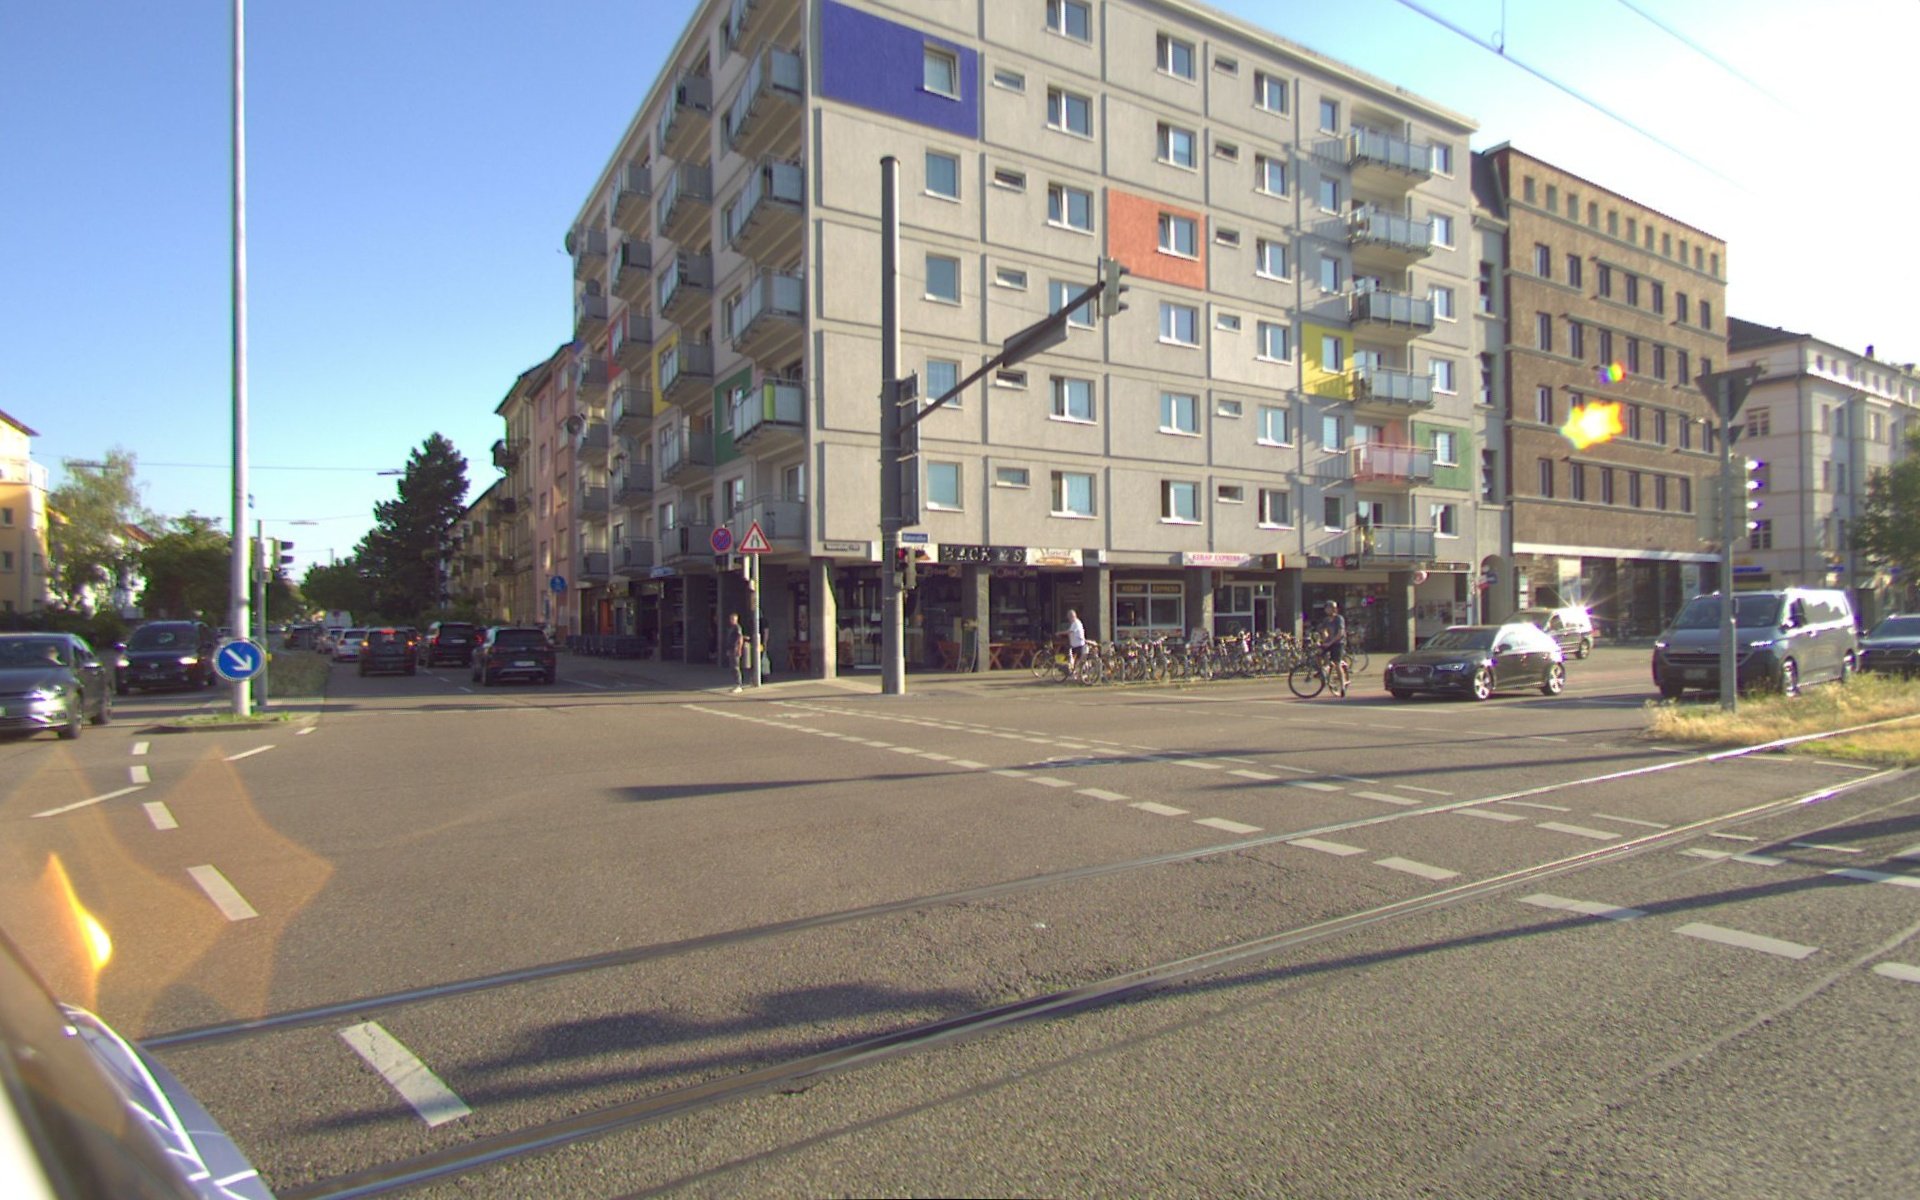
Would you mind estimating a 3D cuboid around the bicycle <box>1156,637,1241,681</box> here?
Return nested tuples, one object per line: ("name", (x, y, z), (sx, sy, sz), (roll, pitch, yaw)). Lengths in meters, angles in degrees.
("bicycle", (6.132, 1.499, 26.178), (0.724, 1.059, 2.306), (0, -1, -31))

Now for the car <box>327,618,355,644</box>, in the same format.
("car", (-40.450, 2.030, 66.102), (1.514, 1.605, 2.816), (2, -3, -32))

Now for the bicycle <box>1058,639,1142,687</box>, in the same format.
("bicycle", (3.349, 1.497, 24.465), (0.724, 1.059, 2.306), (0, -1, -31))

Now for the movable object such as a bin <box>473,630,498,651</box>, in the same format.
("movable object such as a bin", (-29.990, 2.562, 64.000), (0.842, 1.242, 1.186), (-1, -1, 19))

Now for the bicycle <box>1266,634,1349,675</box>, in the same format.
("bicycle", (9.702, 1.503, 28.345), (0.636, 1.059, 2.306), (0, -1, -31))

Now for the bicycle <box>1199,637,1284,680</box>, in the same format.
("bicycle", (7.473, 1.533, 26.967), (0.724, 1.059, 2.306), (0, -1, -31))

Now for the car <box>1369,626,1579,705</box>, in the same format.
("car", (10.022, 1.199, 19.660), (4.130, 1.322, 1.806), (0, -1, -33))

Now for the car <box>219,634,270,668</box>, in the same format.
("car", (-36.733, 2.579, 52.041), (1.876, 1.552, 4.012), (0, -1, -32))

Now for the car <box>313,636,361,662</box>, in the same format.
("car", (-35.415, 2.746, 57.488), (1.687, 1.436, 4.109), (2, -3, -40))

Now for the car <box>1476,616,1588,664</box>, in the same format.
("car", (19.599, 1.341, 34.619), (3.933, 1.519, 1.701), (0, -1, -33))

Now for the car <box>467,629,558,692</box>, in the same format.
("car", (-12.370, 1.624, 27.836), (1.770, 1.577, 4.159), (1, -3, -31))

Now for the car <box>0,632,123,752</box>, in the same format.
("car", (-13.300, 1.235, 14.194), (1.742, 1.470, 4.282), (0, -2, -31))

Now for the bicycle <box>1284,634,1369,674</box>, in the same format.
("bicycle", (10.373, 1.514, 28.742), (0.724, 1.059, 2.306), (0, -1, -31))

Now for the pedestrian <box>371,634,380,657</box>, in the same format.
("pedestrian", (-41.543, 3.201, 71.923), (0.568, 1.612, 0.483), (0, -2, -31))

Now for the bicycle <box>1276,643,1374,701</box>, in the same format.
("bicycle", (7.380, 1.422, 20.443), (1.752, 1.106, 0.954), (1, -3, -31))

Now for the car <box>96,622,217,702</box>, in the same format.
("car", (-20.481, 1.519, 25.982), (1.864, 1.868, 4.479), (1, -2, -31))

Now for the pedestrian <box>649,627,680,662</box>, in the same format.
("pedestrian", (-11.601, 1.735, 39.732), (0.958, 1.357, 0.885), (0, -1, -31))

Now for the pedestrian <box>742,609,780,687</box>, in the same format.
("pedestrian", (-5.006, 1.191, 25.446), (0.600, 1.889, 0.815), (-3, 0, -30))

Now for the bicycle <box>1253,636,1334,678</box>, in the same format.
("bicycle", (9.206, 1.556, 28.058), (0.553, 1.059, 2.306), (0, -1, -31))

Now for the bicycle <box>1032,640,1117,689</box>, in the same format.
("bicycle", (2.682, 1.502, 24.028), (0.724, 1.059, 2.306), (0, -1, -31))

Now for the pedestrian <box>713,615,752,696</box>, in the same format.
("pedestrian", (-5.294, 1.274, 23.514), (0.600, 1.800, 0.815), (-3, 0, -28))

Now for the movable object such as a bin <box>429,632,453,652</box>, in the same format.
("movable object such as a bin", (-33.449, 2.676, 65.227), (0.840, 1.242, 1.189), (-1, -1, 11))

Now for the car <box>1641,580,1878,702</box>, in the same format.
("car", (15.085, 0.696, 19.026), (4.855, 2.029, 2.005), (0, -1, -33))

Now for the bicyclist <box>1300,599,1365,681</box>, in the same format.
("bicyclist", (7.564, 0.806, 20.583), (0.726, 1.610, 0.966), (1, -3, -31))

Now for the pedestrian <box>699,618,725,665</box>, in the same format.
("pedestrian", (-8.985, 1.489, 36.671), (0.654, 1.685, 0.621), (-1, -1, 23))

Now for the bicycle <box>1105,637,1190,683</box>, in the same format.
("bicycle", (4.665, 1.481, 25.352), (0.724, 1.059, 2.306), (0, -1, -31))

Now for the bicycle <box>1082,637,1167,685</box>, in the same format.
("bicycle", (4.015, 1.474, 24.916), (0.724, 1.059, 2.306), (0, -1, -31))

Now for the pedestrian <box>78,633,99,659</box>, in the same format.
("pedestrian", (-56.346, 2.980, 65.443), (0.726, 1.614, 1.014), (3, -3, -27))

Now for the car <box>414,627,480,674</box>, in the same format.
("car", (-20.345, 1.967, 40.063), (1.791, 1.724, 4.799), (2, -3, -33))

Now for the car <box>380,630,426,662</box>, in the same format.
("car", (-29.063, 2.383, 52.759), (1.653, 1.556, 3.646), (2, -3, -35))

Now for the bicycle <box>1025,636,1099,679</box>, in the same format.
("bicycle", (2.689, 1.503, 26.613), (2.031, 1.100, 0.521), (1, -3, -32))

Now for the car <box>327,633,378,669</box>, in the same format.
("car", (-26.987, 2.235, 44.908), (1.653, 1.556, 3.815), (2, -3, -35))

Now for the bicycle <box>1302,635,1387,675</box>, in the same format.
("bicycle", (11.046, 1.559, 29.159), (0.724, 1.059, 2.306), (0, -1, -31))

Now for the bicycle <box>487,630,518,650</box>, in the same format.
("bicycle", (-28.966, 2.514, 64.057), (1.751, 1.200, 0.474), (0, -2, -34))

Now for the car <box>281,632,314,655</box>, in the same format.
("car", (-46.159, 2.991, 70.446), (1.653, 1.556, 4.111), (2, -3, -36))

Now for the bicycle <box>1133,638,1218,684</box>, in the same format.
("bicycle", (5.458, 1.530, 25.779), (0.724, 1.059, 2.306), (0, -1, -31))

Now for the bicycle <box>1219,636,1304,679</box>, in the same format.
("bicycle", (8.137, 1.537, 27.418), (0.724, 1.059, 2.306), (0, -1, -31))

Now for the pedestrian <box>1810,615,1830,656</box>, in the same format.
("pedestrian", (43.227, 1.762, 50.871), (0.720, 2.029, 0.718), (-1, -1, 44))

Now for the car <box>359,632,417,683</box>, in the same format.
("car", (-18.764, 1.853, 33.132), (1.556, 1.556, 3.487), (2, -3, -31))

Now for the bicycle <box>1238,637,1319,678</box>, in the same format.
("bicycle", (8.709, 1.552, 27.754), (0.553, 1.059, 2.306), (0, -1, -31))

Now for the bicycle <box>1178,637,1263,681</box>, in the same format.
("bicycle", (6.797, 1.518, 26.553), (0.724, 1.059, 2.306), (0, -1, -31))

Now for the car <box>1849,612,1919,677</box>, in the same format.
("car", (22.314, 0.985, 23.266), (3.847, 1.384, 1.806), (0, -1, -33))

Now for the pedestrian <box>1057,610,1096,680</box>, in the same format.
("pedestrian", (3.007, 1.151, 26.115), (0.600, 1.735, 0.687), (-3, 0, -32))

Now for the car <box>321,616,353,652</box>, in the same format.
("car", (-50.474, 2.730, 81.962), (2.101, 2.777, 4.479), (1, -2, -32))
